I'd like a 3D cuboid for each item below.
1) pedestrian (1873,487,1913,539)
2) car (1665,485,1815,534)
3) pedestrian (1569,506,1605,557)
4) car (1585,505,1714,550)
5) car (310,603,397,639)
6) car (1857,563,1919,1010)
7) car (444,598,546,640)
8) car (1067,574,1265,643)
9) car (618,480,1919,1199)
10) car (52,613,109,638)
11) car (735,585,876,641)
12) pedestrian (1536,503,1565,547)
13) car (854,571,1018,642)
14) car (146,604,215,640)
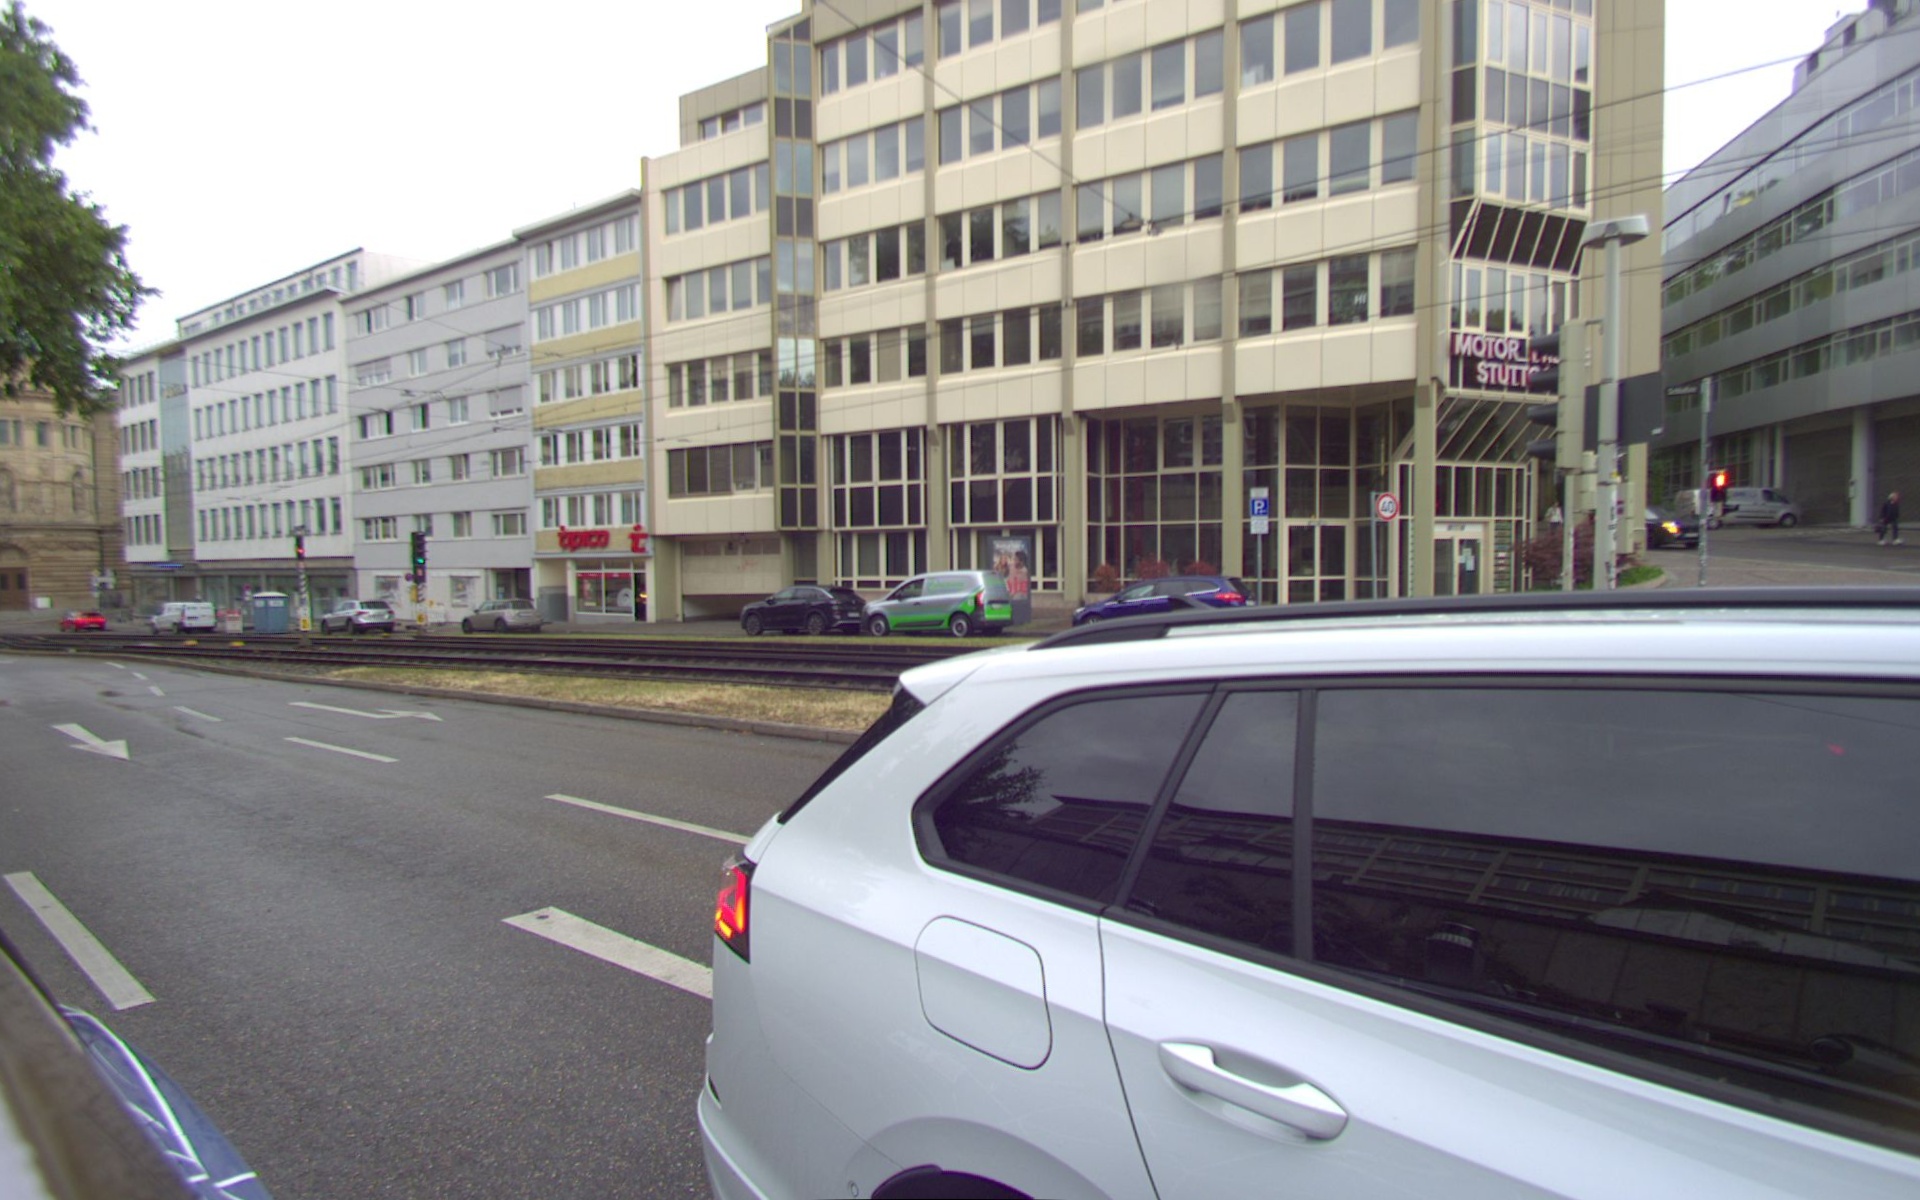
[{"bbox_3d":[34.128,-3.169,37.030,0.711,1.874,0.847,-2,3,6],"label":"pedestrian"},{"bbox_3d":[37.614,-4.347,48.940,5.357,2.029,1.993,-1,0,12],"label":"car"},{"bbox_3d":[22.439,-2.449,36.243,0.821,1.800,0.759,-2,3,6],"label":"pedestrian"},{"bbox_3d":[27.311,-2.918,40.313,1.974,1.591,4.884,-2,5,3],"label":"car"},{"bbox_3d":[-28.322,0.954,47.210,4.066,1.524,1.869,-1,3,34],"label":"car"},{"bbox_3d":[5.290,0.576,2.560,4.473,1.453,1.777,-1,0,41],"label":"car"},{"bbox_3d":[-18.723,0.732,40.710,4.066,1.524,1.782,-1,3,34],"label":"car"},{"bbox_3d":[4.806,0.195,23.851,4.207,1.488,1.780,-1,0,35],"label":"car"},{"bbox_3d":[1.600,0.625,1.162,4.473,1.453,1.777,-1,0,41],"label":"car"},{"bbox_3d":[-62.220,1.786,71.557,4.465,1.636,1.869,-1,3,34],"label":"car"},{"bbox_3d":[-4.728,0.382,30.755,4.066,1.524,1.782,-1,3,34],"label":"car"},{"bbox_3d":[22.915,-2.901,39.282,0.711,1.651,0.759,-2,3,6],"label":"pedestrian"},{"bbox_3d":[-0.686,0.173,27.865,4.204,1.759,1.782,-1,2,33],"label":"car"},{"bbox_3d":[-46.562,1.295,60.453,4.465,1.949,1.869,-1,3,34],"label":"car"}]
